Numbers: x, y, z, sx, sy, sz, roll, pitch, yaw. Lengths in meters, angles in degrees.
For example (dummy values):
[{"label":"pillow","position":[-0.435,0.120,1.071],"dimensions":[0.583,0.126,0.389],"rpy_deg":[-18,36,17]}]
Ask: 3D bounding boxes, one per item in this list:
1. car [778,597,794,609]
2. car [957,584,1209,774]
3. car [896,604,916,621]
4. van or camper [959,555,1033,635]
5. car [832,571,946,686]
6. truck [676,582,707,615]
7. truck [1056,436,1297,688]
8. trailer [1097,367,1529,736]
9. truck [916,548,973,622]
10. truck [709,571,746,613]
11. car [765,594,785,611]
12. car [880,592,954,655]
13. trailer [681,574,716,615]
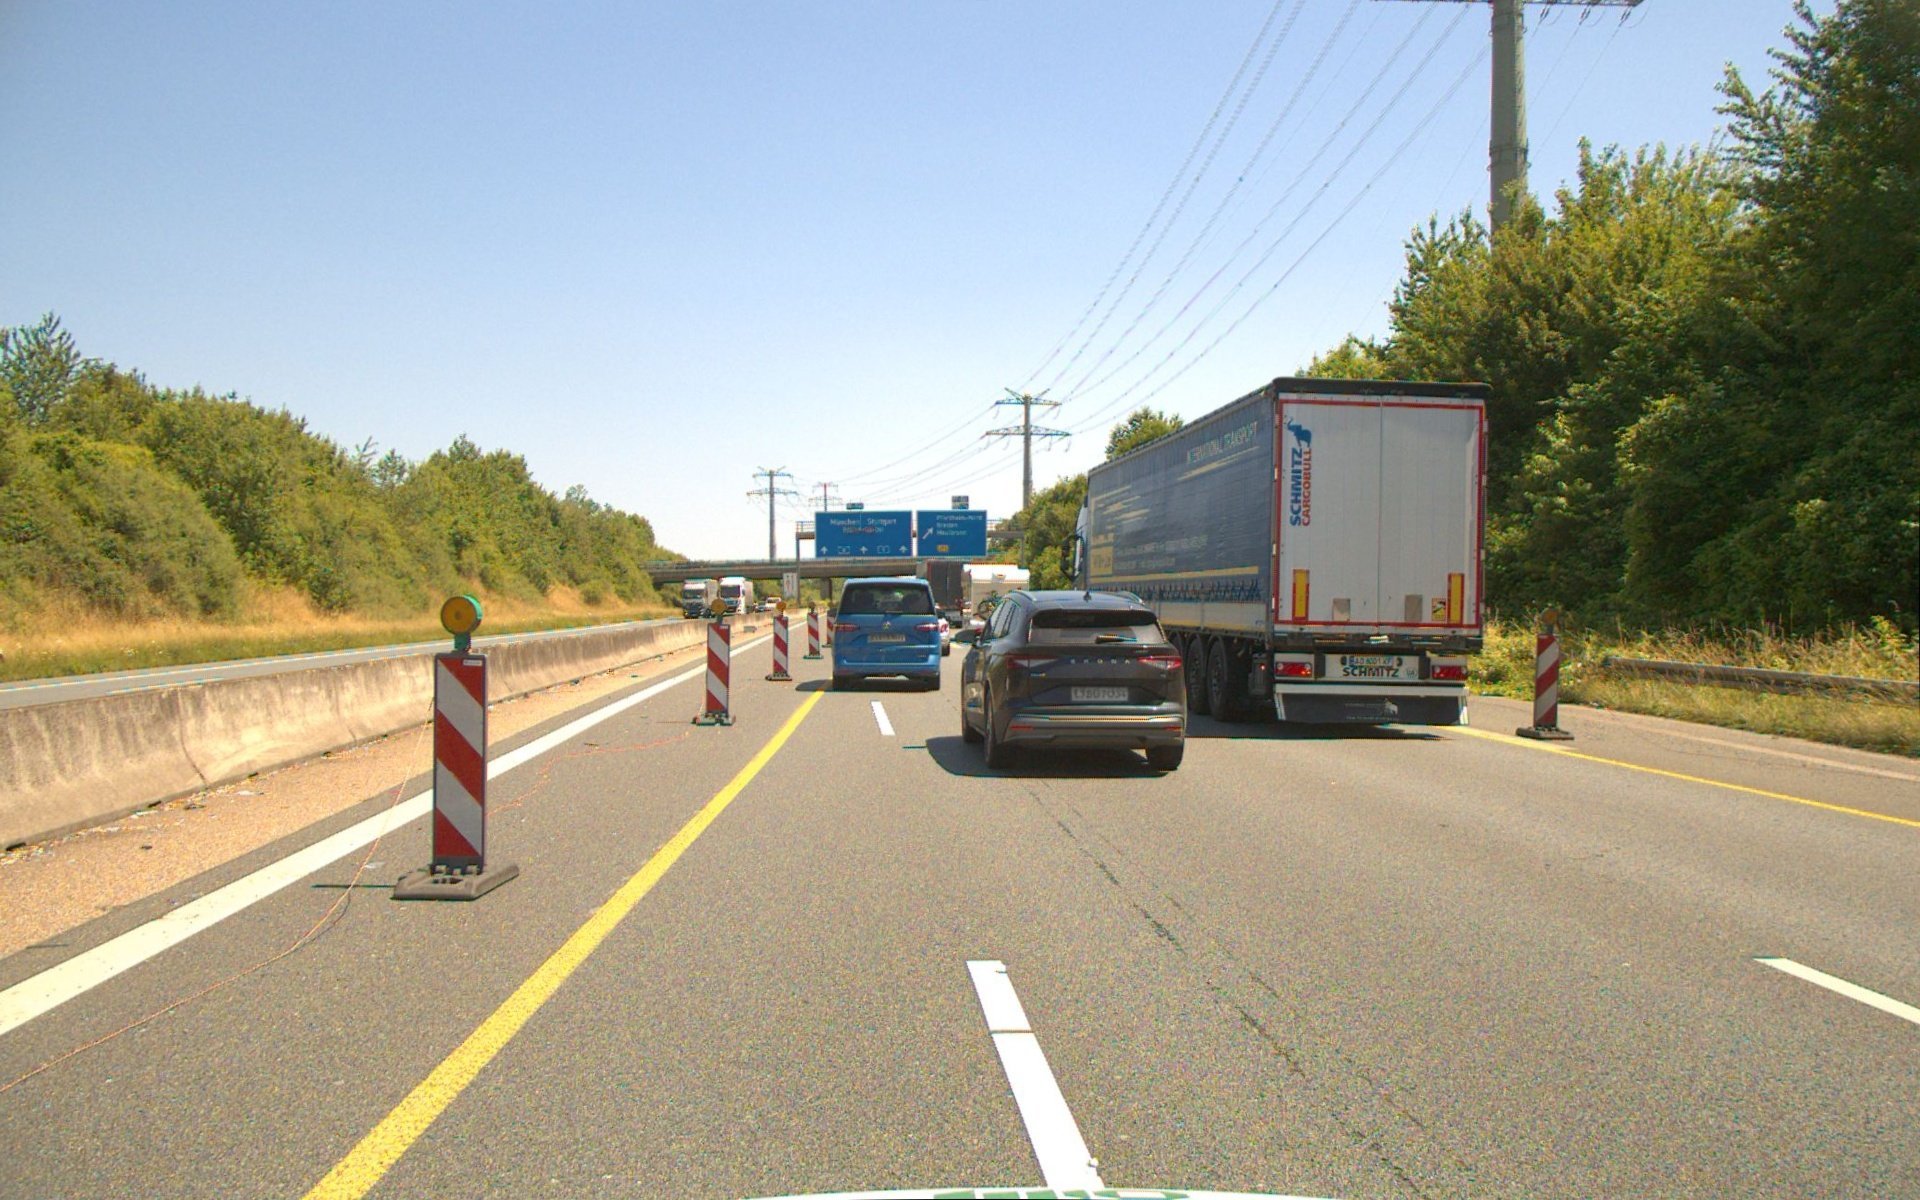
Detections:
[{"label":"car","position":[-22.451,0.333,213.844],"dimensions":[1.727,1.497,4.632],"rpy_deg":[-1,0,-2]},{"label":"car","position":[1.056,0.654,16.386],"dimensions":[1.858,1.620,4.438],"rpy_deg":[0,0,-4]},{"label":"car","position":[-5.772,1.300,176.052],"dimensions":[1.858,1.535,4.439],"rpy_deg":[2,2,-4]},{"label":"van or camper","position":[1.353,-0.211,65.636],"dimensions":[2.535,3.020,6.081],"rpy_deg":[-1,0,-2]},{"label":"car","position":[-1.333,0.508,29.559],"dimensions":[1.858,1.874,4.438],"rpy_deg":[1,-1,-4]},{"label":"truck","position":[-28.158,-0.162,173.830],"dimensions":[2.416,3.345,6.919],"rpy_deg":[-3,0,-4]},{"label":"truck","position":[3.832,-0.629,31.371],"dimensions":[2.965,4.159,7.787],"rpy_deg":[0,0,-5]},{"label":"trailer","position":[4.461,-0.557,24.281],"dimensions":[3.005,4.113,11.476],"rpy_deg":[0,0,-5]},{"label":"truck","position":[-1.085,-0.843,101.542],"dimensions":[3.016,4.219,13.047],"rpy_deg":[1,0,-2]},{"label":"truck","position":[-24.775,-0.837,176.444],"dimensions":[3.100,4.298,7.411],"rpy_deg":[1,0,-2]},{"label":"car","position":[-20.461,0.239,183.227],"dimensions":[1.829,1.824,5.452],"rpy_deg":[-1,0,-3]},{"label":"car","position":[-1.280,0.621,47.444],"dimensions":[1.858,1.535,4.439],"rpy_deg":[2,2,-4]},{"label":"trailer","position":[-28.640,-0.621,181.663],"dimensions":[2.431,4.252,12.076],"rpy_deg":[-3,0,-4]}]
